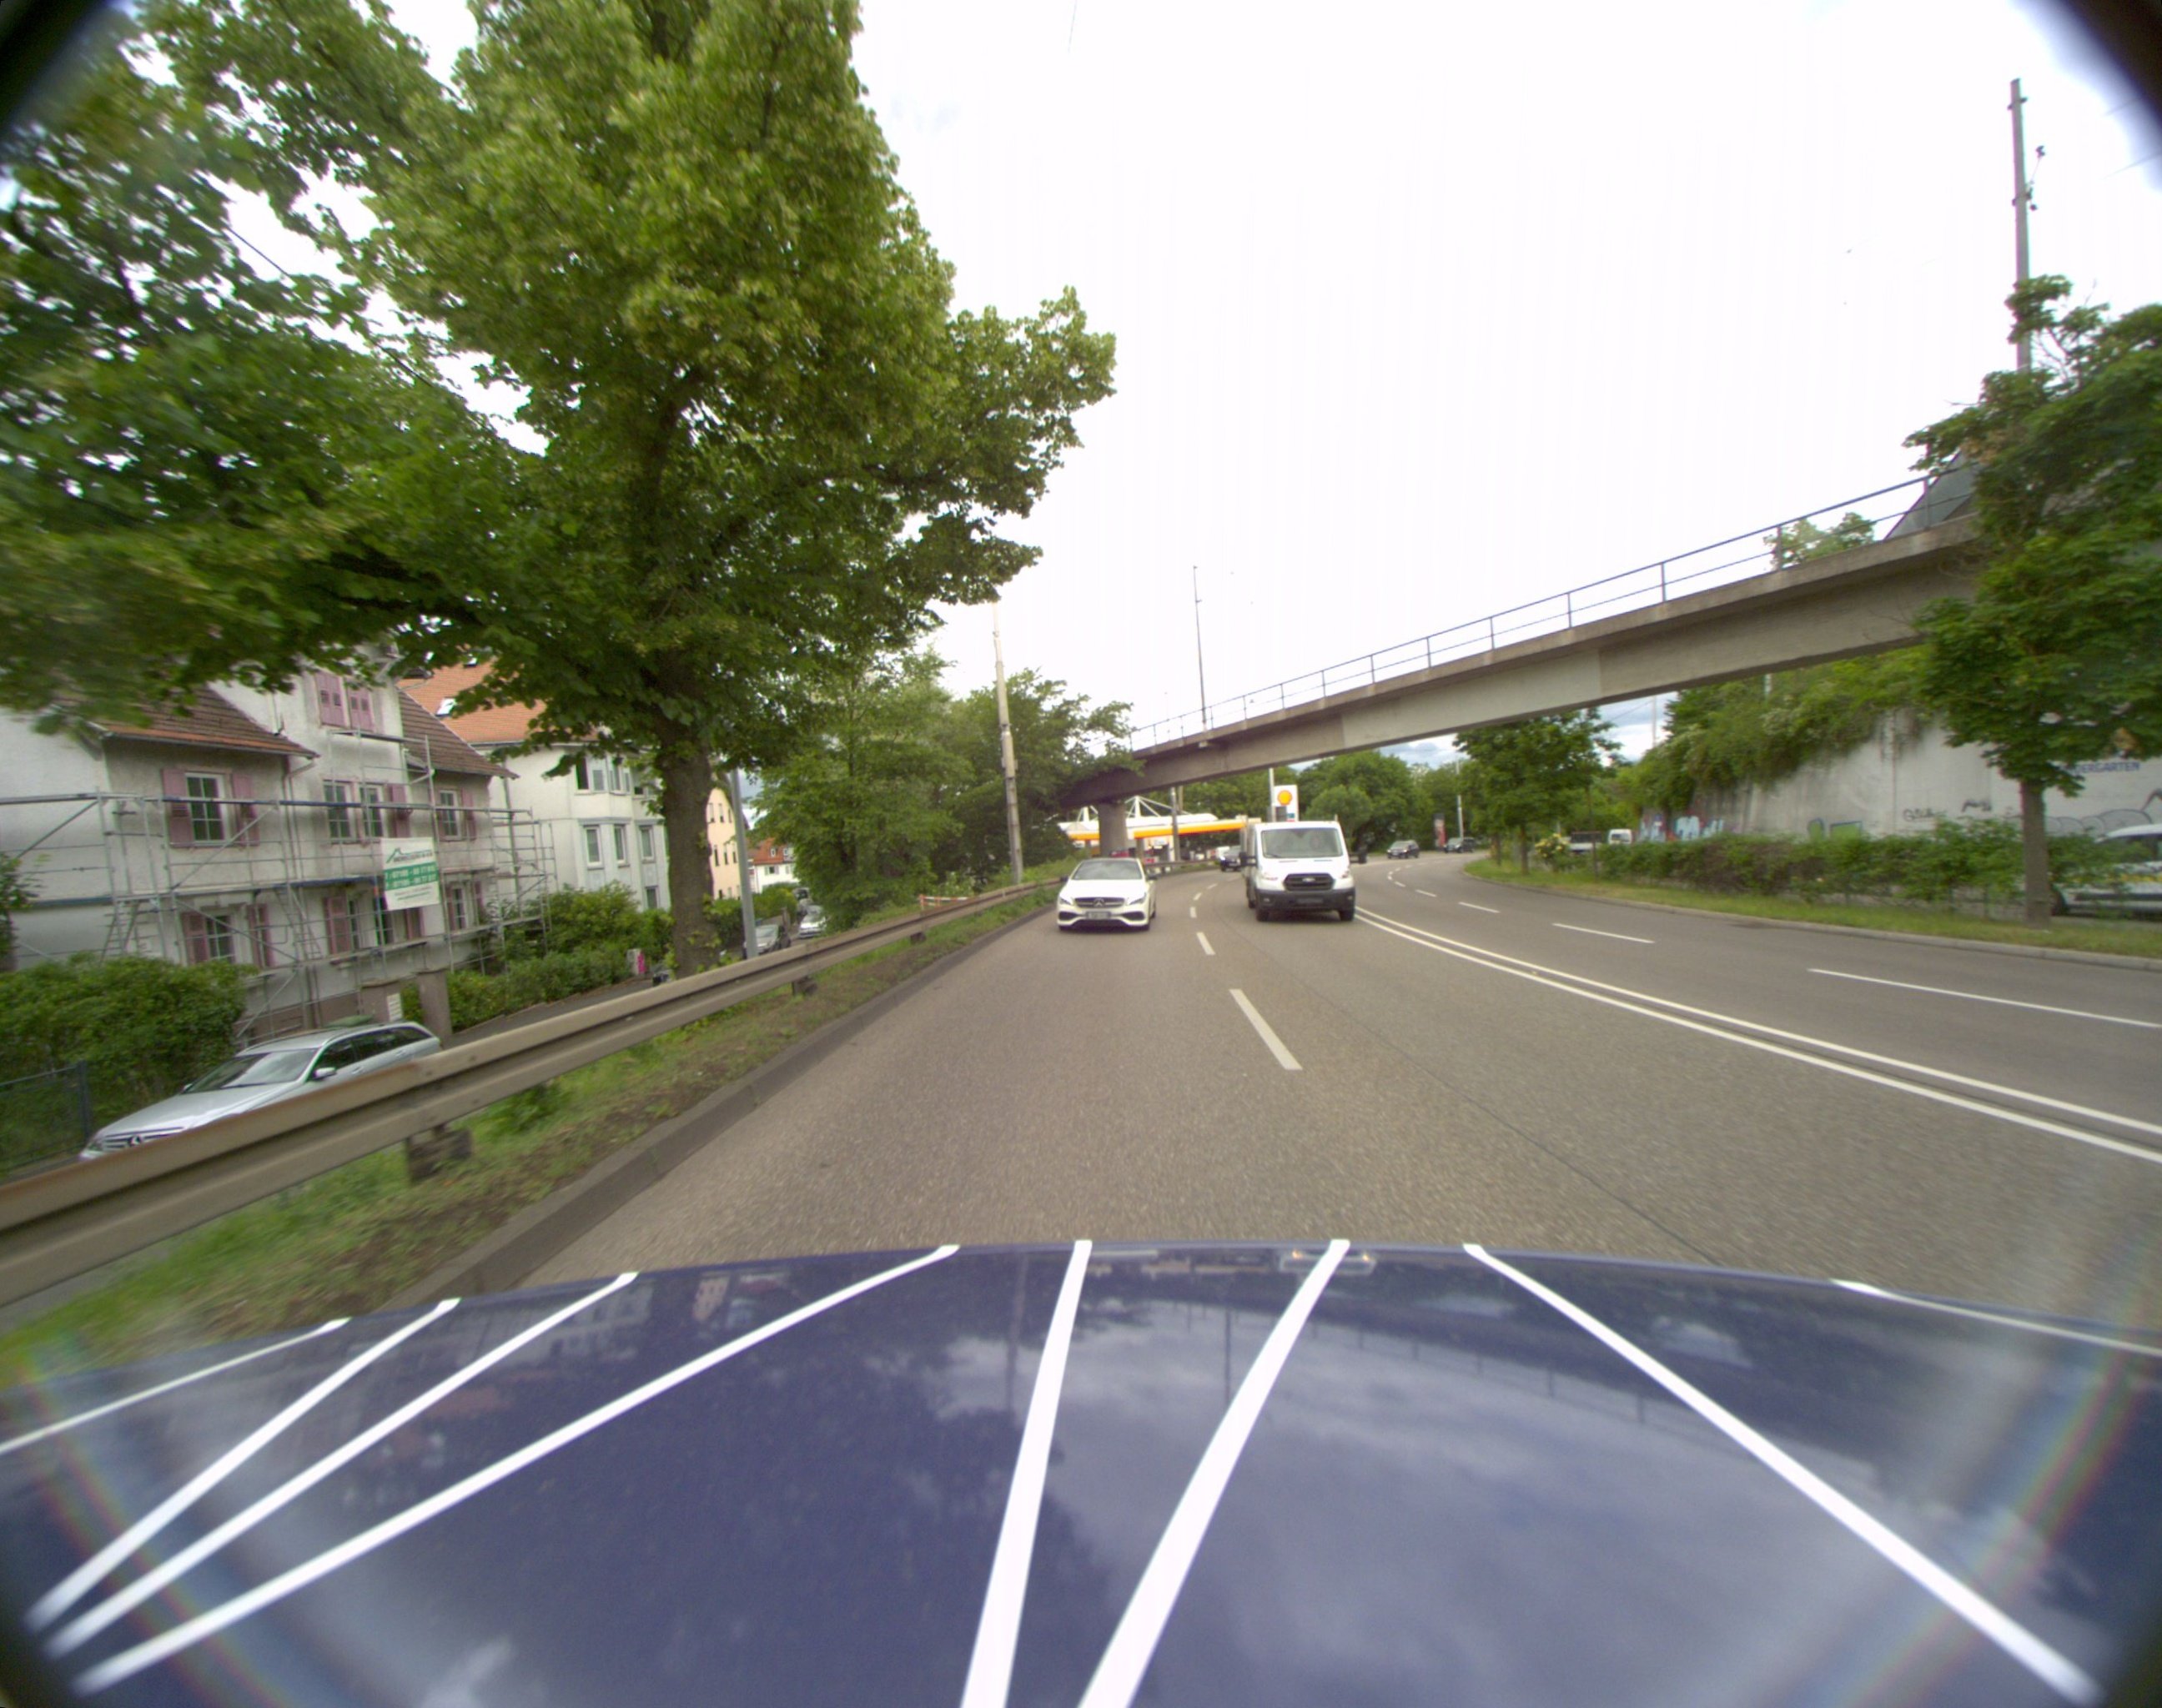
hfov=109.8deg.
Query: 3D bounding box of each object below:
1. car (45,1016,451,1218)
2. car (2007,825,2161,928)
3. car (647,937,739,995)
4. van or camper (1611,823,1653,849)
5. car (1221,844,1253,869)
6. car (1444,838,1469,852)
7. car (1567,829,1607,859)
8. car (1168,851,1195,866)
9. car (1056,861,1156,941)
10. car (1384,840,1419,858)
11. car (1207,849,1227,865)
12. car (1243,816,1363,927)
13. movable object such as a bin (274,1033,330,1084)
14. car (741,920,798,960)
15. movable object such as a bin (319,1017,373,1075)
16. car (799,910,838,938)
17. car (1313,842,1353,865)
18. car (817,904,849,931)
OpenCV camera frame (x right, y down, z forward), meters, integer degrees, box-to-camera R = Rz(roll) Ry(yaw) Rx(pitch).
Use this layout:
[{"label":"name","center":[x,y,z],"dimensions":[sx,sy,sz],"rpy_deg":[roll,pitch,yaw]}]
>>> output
[{"label":"car","center":[-12.098,3.706,11.598],"dimensions":[1.624,1.432,4.430],"rpy_deg":[-5,0,-8]},{"label":"car","center":[19.449,0.385,13.146],"dimensions":[1.769,1.775,4.467],"rpy_deg":[0,1,8]},{"label":"car","center":[-14.091,4.035,27.833],"dimensions":[1.624,1.439,4.055],"rpy_deg":[-5,0,-8]},{"label":"van or camper","center":[55.542,-1.834,76.560],"dimensions":[5.720,2.459,1.994],"rpy_deg":[-2,2,-39]},{"label":"car","center":[9.460,0.134,45.858],"dimensions":[1.732,1.403,4.004],"rpy_deg":[-1,1,14]},{"label":"car","center":[44.099,-1.051,89.176],"dimensions":[1.726,1.469,4.008],"rpy_deg":[-2,0,40]},{"label":"car","center":[39.942,-0.849,59.890],"dimensions":[2.268,2.260,6.339],"rpy_deg":[0,2,37]},{"label":"car","center":[11.997,0.482,90.787],"dimensions":[1.724,1.428,4.097],"rpy_deg":[-3,4,-16]},{"label":"car","center":[0.644,0.874,15.802],"dimensions":[1.820,1.339,4.001],"rpy_deg":[0,1,5]},{"label":"car","center":[29.543,-0.475,69.938],"dimensions":[1.726,1.469,4.008],"rpy_deg":[-2,0,41]},{"label":"car","center":[16.355,0.346,91.623],"dimensions":[1.627,1.511,4.098],"rpy_deg":[-2,4,1]},{"label":"car","center":[5.017,0.339,18.058],"dimensions":[1.997,2.161,6.273],"rpy_deg":[-1,0,9]},{"label":"movable object such as a bin","center":[-16.326,4.279,15.933],"dimensions":[0.538,0.877,0.580],"rpy_deg":[-2,1,-1]},{"label":"car","center":[-15.262,4.193,37.430],"dimensions":[1.624,1.439,4.026],"rpy_deg":[-5,0,-10]},{"label":"movable object such as a bin","center":[-15.743,4.102,16.281],"dimensions":[0.580,1.073,0.538],"rpy_deg":[-2,1,-2]},{"label":"car","center":[-16.947,4.494,49.213],"dimensions":[1.651,1.386,3.767],"rpy_deg":[-5,0,-10]},{"label":"car","center":[17.108,-0.057,51.484],"dimensions":[1.733,1.403,4.007],"rpy_deg":[-2,0,30]},{"label":"car","center":[-17.885,4.534,54.848],"dimensions":[1.624,1.512,4.300],"rpy_deg":[-5,0,-12]}]
